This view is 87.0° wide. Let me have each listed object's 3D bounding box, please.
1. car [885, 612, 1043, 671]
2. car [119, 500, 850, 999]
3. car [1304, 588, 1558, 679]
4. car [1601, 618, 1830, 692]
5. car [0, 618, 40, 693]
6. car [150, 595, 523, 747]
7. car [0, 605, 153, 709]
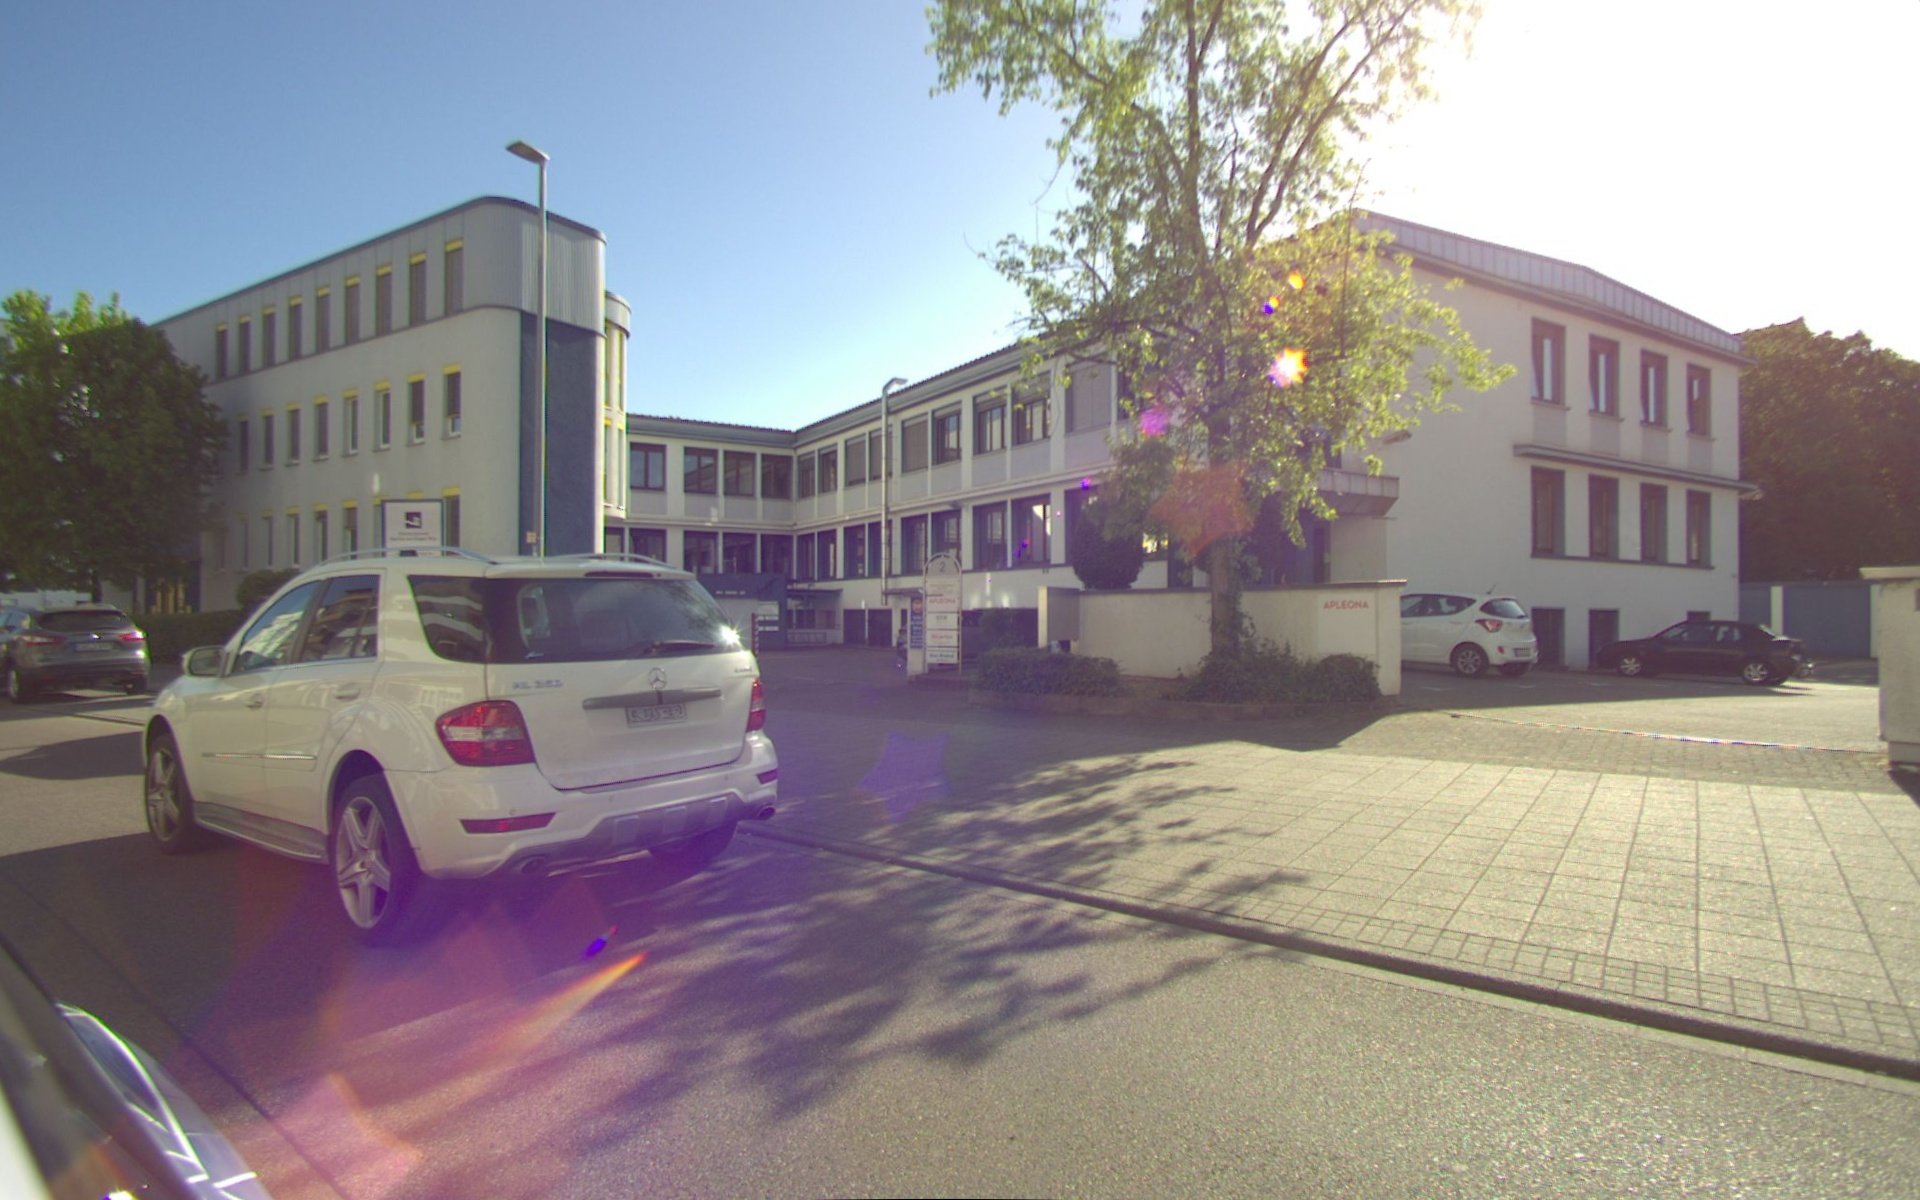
[{"bbox_3d":[0.168,1.132,28.981,4.268,1.552,1.929,0,-2,-39],"label":"car"},{"bbox_3d":[-2.944,0.590,5.830,4.512,1.799,1.971,-1,-2,38],"label":"car"},{"bbox_3d":[8.540,0.551,18.632,1.734,1.431,3.857,1,0,-38],"label":"car"},{"bbox_3d":[17.386,1.198,23.403,1.971,1.408,4.003,1,0,-45],"label":"car"},{"bbox_3d":[-20.928,1.128,21.015,4.427,1.476,1.712,-1,-1,34],"label":"car"},{"bbox_3d":[-7.775,0.782,12.486,4.902,1.546,1.978,-1,-1,32],"label":"car"},{"bbox_3d":[-15.897,0.925,17.591,4.409,1.598,1.705,-1,-1,34],"label":"car"}]
